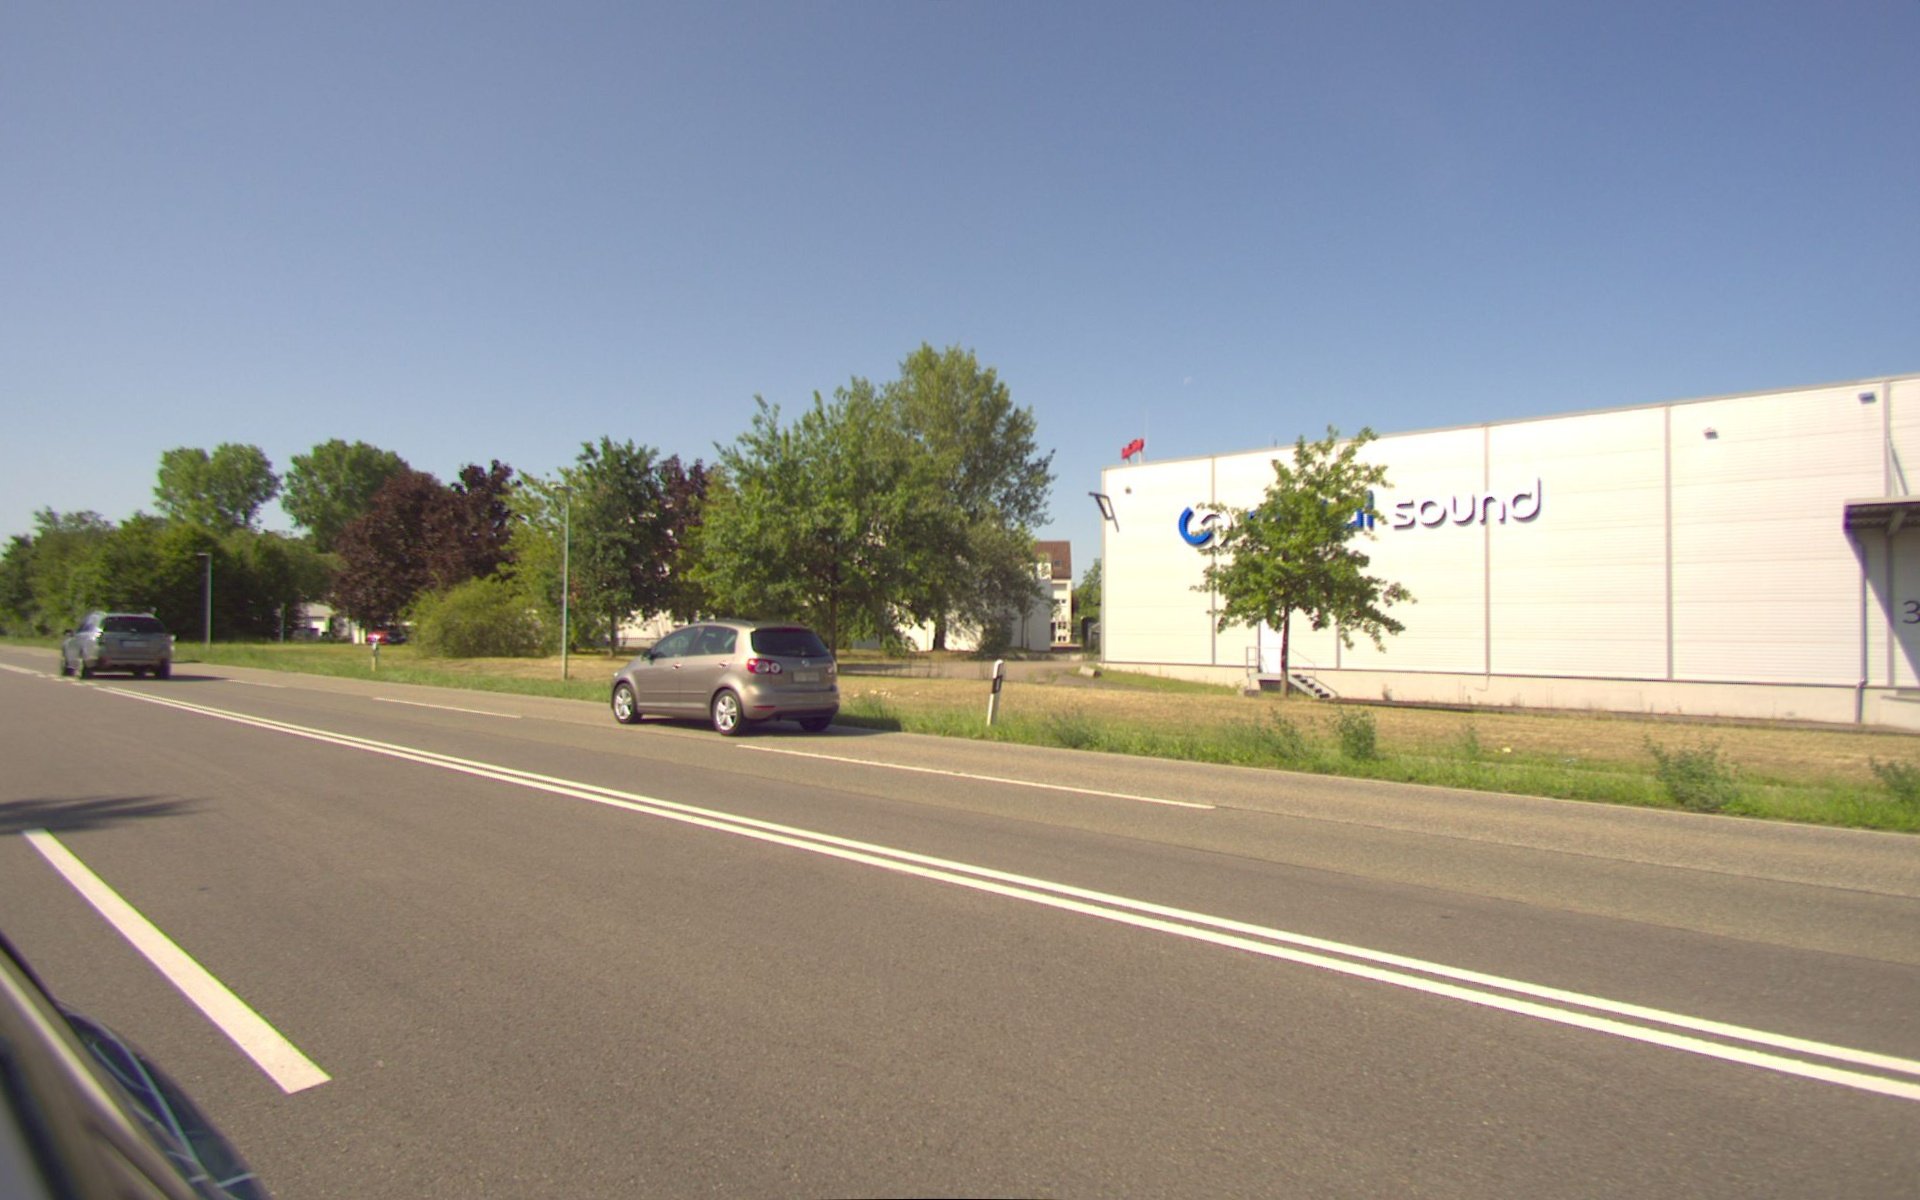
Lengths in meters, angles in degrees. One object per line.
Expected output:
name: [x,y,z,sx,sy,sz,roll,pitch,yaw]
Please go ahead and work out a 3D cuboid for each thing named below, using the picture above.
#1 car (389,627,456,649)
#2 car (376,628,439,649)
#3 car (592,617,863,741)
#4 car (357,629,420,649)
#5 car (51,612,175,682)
car: [-34.983,2.500,65.959,1.803,1.381,3.986,-1,-3,11]
car: [-38.742,2.715,71.099,1.803,1.381,3.986,-1,-3,11]
car: [-3.509,1.080,14.864,4.213,1.573,1.711,-1,-4,41]
car: [-41.049,2.824,72.804,1.803,1.381,3.986,-1,-3,11]
car: [-22.740,1.240,27.113,4.566,1.727,1.753,-1,-4,41]
